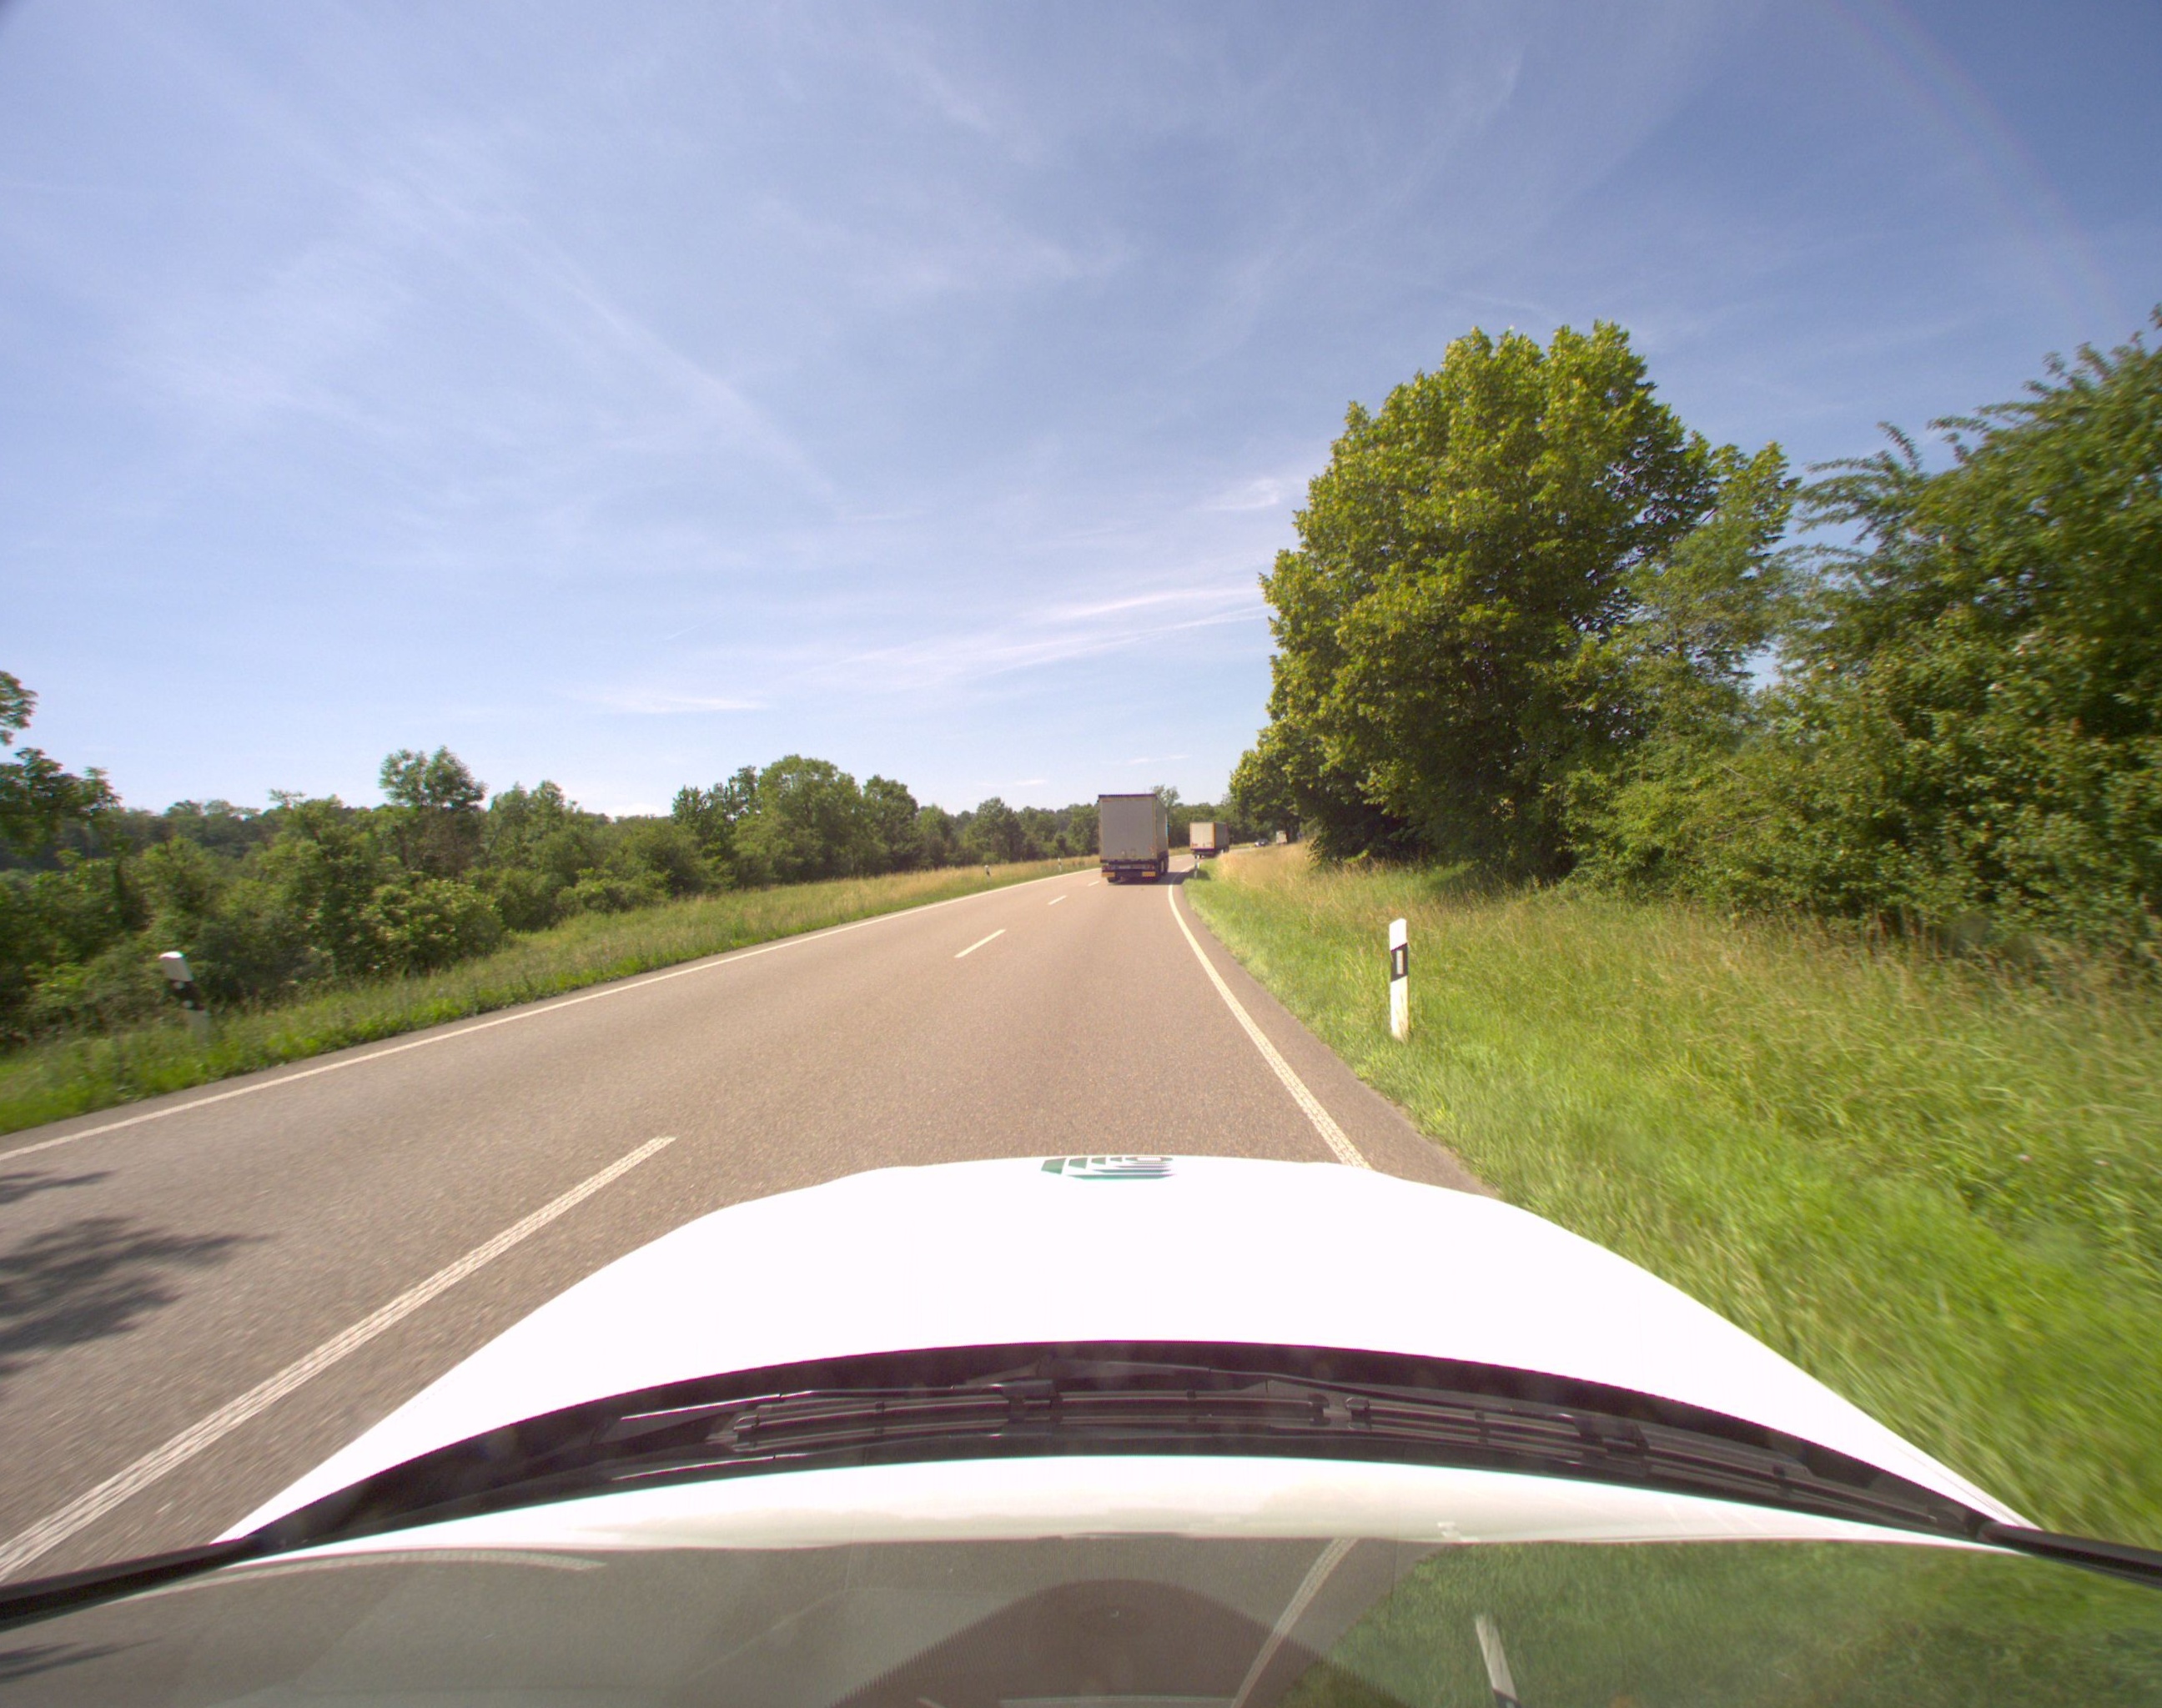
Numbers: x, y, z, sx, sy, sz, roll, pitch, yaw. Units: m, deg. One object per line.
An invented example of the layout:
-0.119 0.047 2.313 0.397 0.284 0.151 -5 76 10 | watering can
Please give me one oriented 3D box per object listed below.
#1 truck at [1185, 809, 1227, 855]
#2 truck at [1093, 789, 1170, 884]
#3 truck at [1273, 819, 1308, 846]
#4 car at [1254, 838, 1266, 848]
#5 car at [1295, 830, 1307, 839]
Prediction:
14.612 -2.366 94.109 3.083 4.705 16.652 -2 0 14 | truck
3.022 -0.801 43.113 2.786 4.068 15.360 -1 0 8 | truck
40.083 -3.945 154.909 3.076 4.705 16.687 -2 0 26 | truck
33.339 -2.059 151.434 1.516 1.717 3.845 -2 0 22 | car
44.987 -3.929 166.539 1.516 1.798 3.846 -2 0 25 | car
